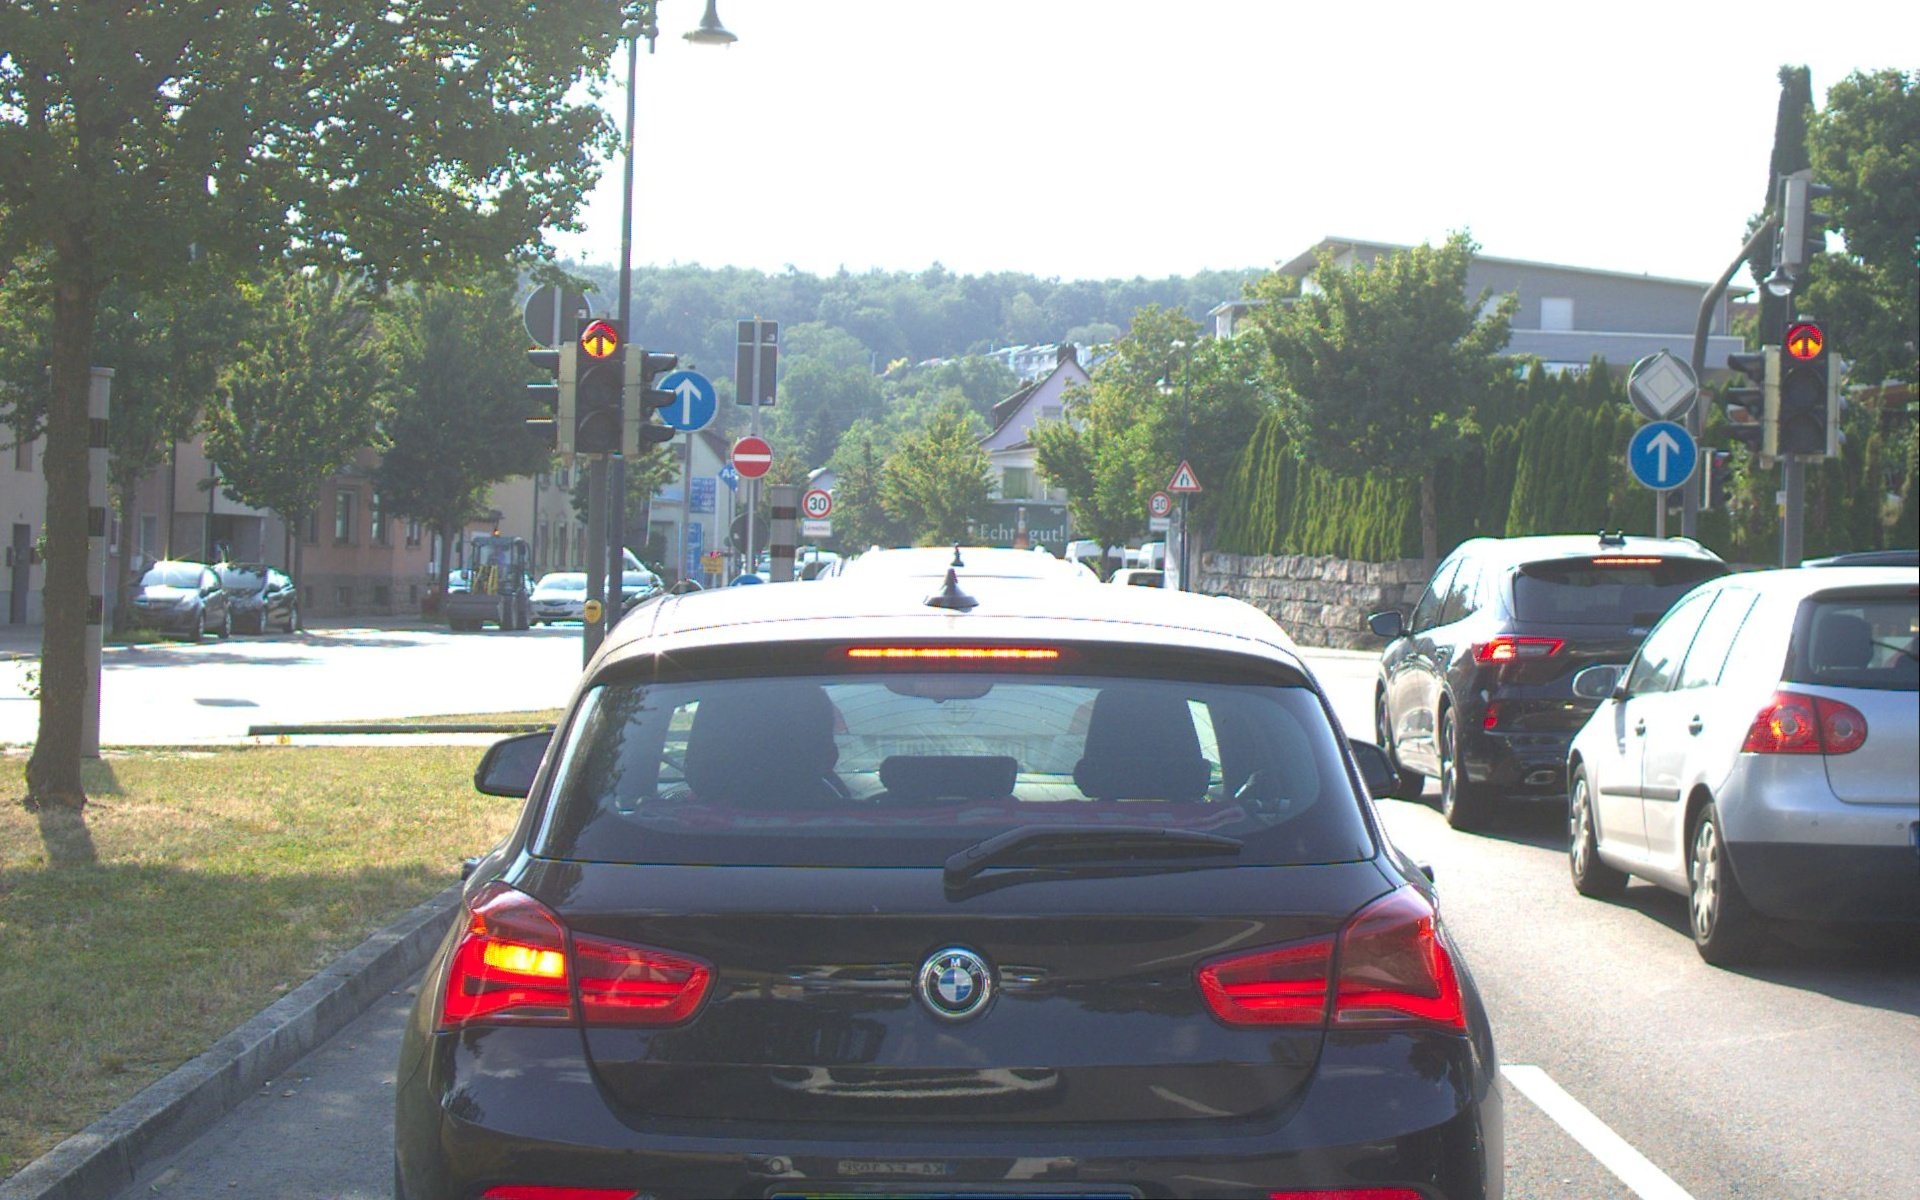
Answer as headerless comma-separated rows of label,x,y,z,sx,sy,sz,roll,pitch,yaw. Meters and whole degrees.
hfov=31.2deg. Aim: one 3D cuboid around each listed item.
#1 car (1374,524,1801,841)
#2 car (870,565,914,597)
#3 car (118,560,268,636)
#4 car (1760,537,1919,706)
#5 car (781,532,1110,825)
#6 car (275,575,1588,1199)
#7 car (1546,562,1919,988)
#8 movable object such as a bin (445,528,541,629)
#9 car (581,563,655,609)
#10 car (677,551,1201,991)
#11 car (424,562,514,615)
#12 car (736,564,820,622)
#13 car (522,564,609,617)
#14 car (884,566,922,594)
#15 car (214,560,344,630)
car,3.533,0.401,20.015,1.761,1.650,3.903,-1,1,0
car,-3.169,-0.911,160.657,1.737,1.296,3.799,5,1,2
car,-14.934,-0.061,67.143,1.737,1.296,4.000,5,1,3
car,10.274,0.199,34.809,4.204,1.674,1.970,0,1,14
car,-0.076,0.395,21.035,1.788,1.588,4.281,-1,1,0
car,-0.032,0.679,6.850,1.788,1.393,4.281,-1,1,0
car,3.560,0.578,13.733,1.761,1.421,3.903,-1,1,0
movable object such as a bin,-11.518,-0.539,84.964,1.736,2.433,4.450,0,1,0
car,-10.904,-0.459,109.936,1.737,1.296,3.799,5,1,2
car,-0.069,0.559,13.995,1.788,1.488,4.281,-1,1,0
car,-13.855,-0.344,97.156,1.737,1.296,3.799,5,1,2
car,-4.816,-0.201,91.526,1.839,1.477,4.000,1,1,3
car,-11.002,-0.283,95.981,1.737,1.296,3.799,5,1,2
car,-3.046,-1.065,184.174,1.737,1.296,3.799,5,1,2
car,-14.513,-0.118,73.419,1.737,1.296,4.000,5,1,2
